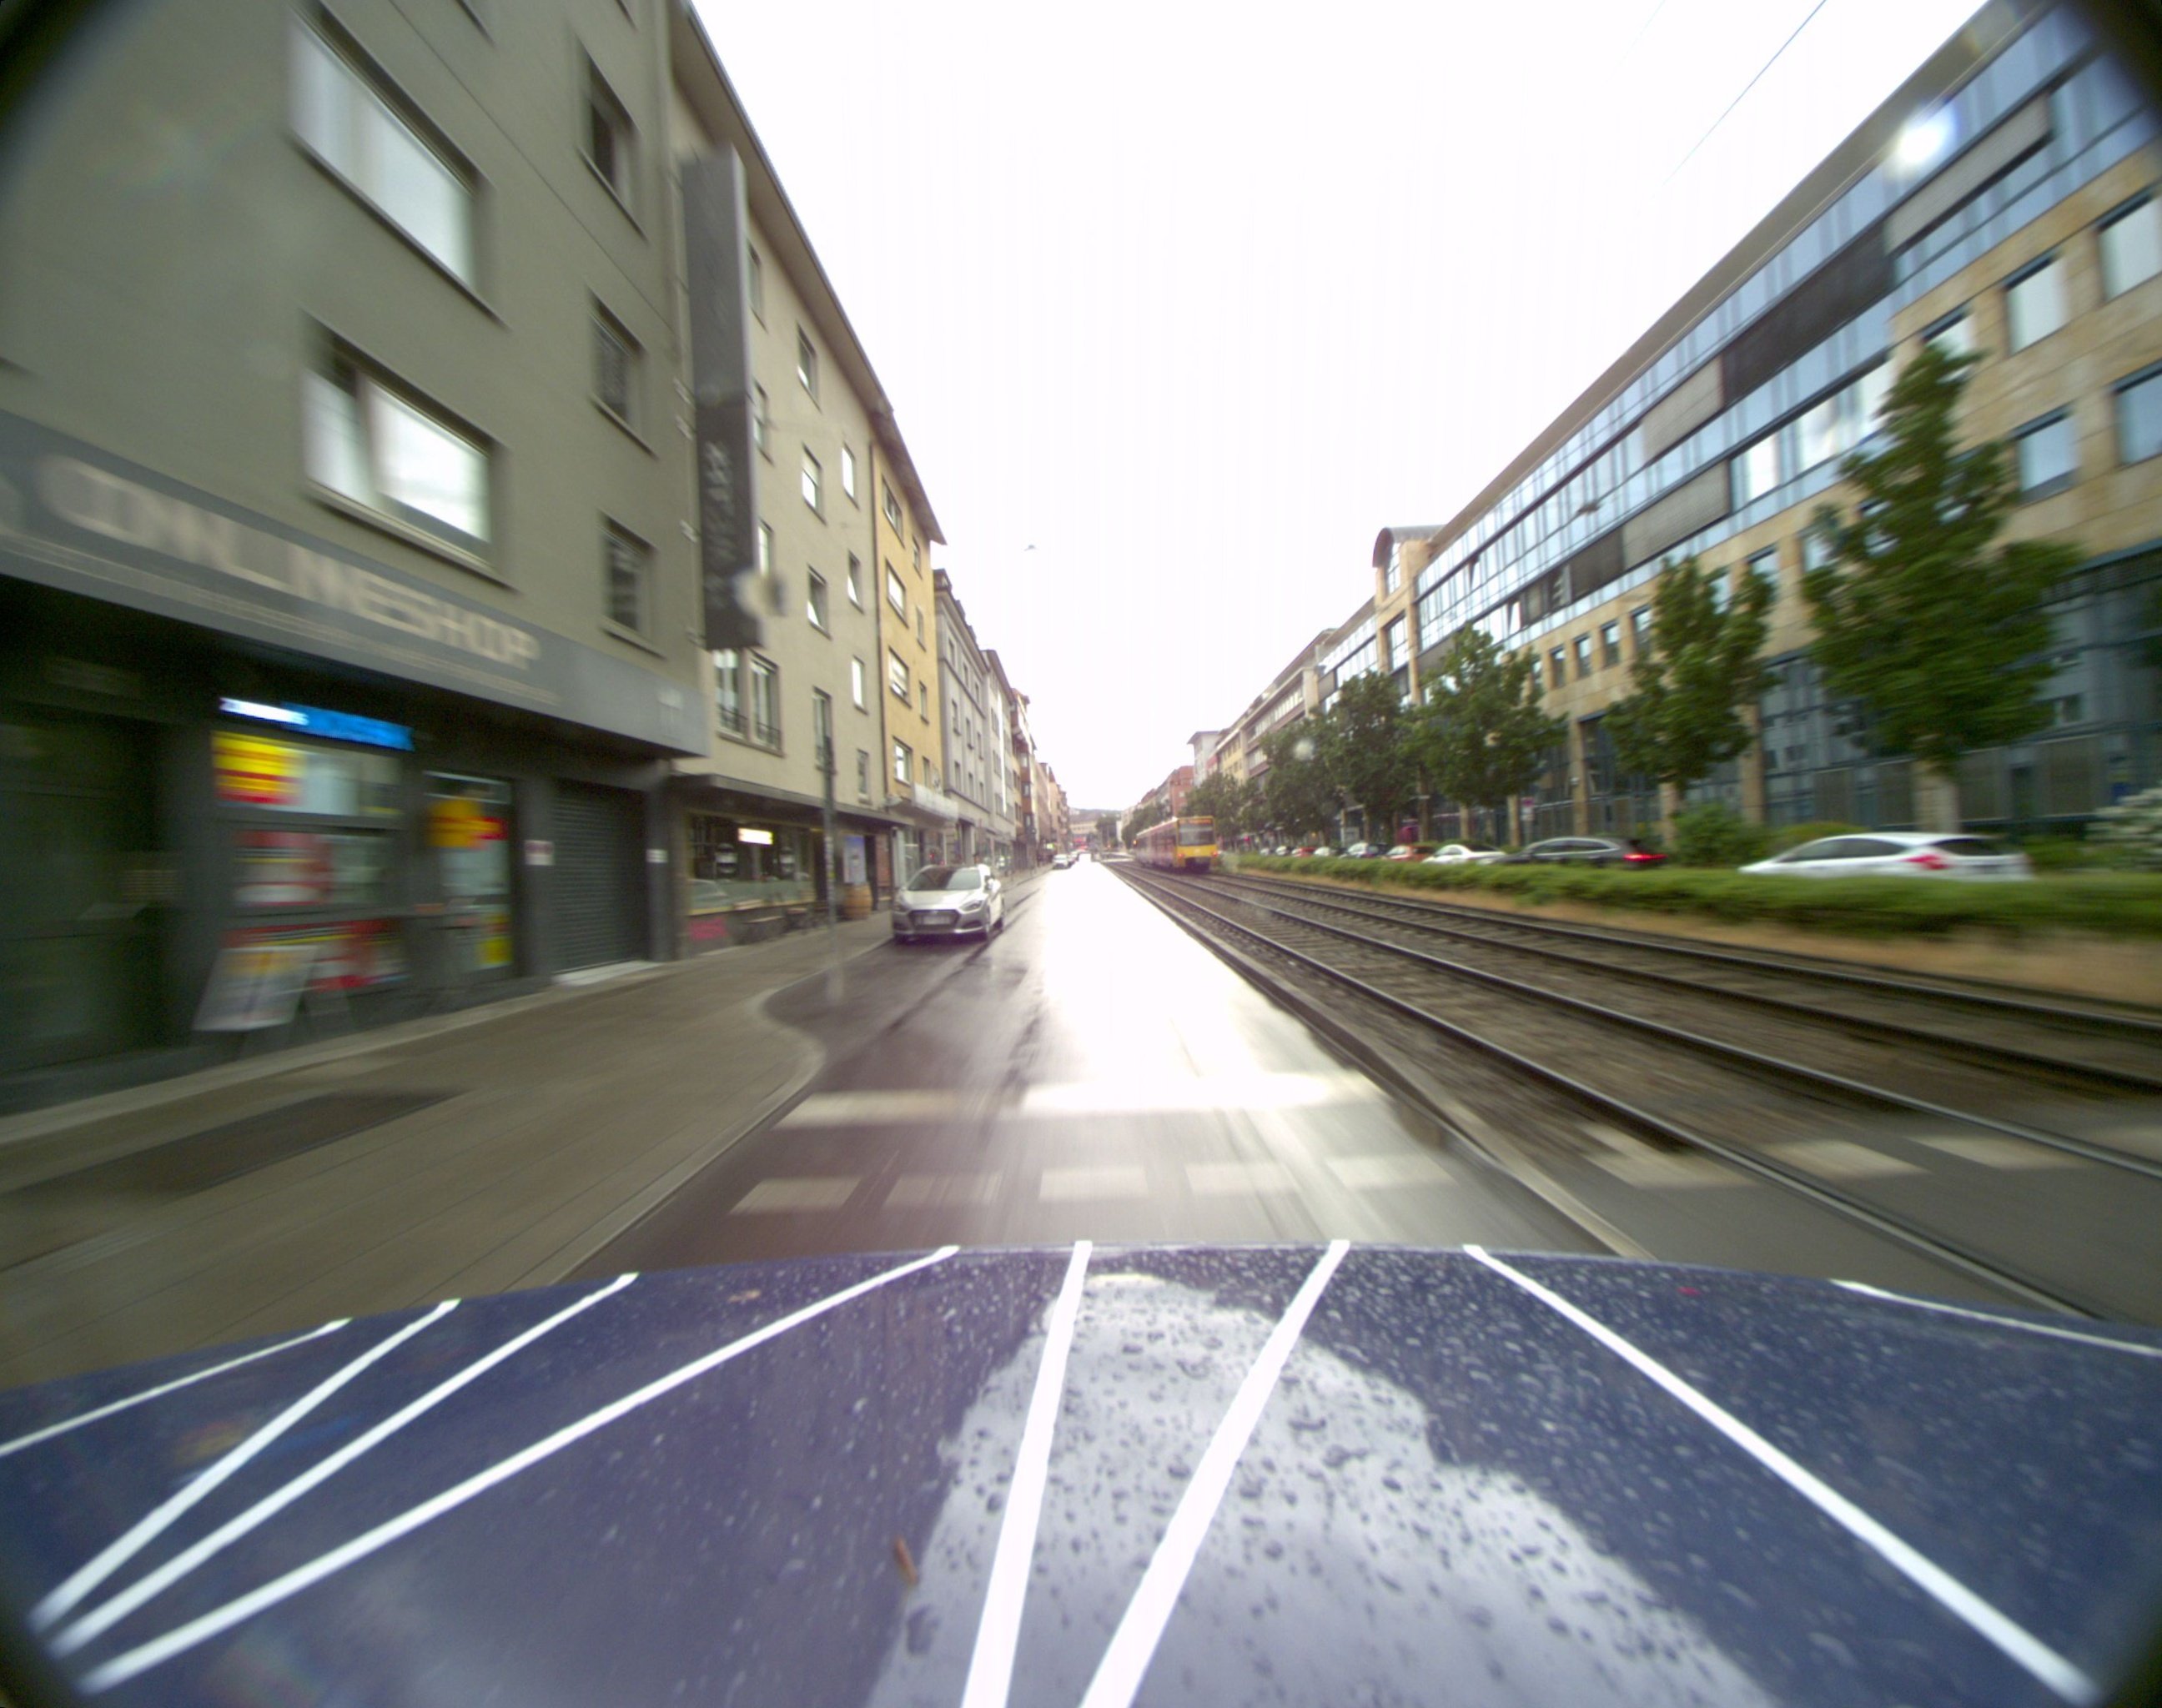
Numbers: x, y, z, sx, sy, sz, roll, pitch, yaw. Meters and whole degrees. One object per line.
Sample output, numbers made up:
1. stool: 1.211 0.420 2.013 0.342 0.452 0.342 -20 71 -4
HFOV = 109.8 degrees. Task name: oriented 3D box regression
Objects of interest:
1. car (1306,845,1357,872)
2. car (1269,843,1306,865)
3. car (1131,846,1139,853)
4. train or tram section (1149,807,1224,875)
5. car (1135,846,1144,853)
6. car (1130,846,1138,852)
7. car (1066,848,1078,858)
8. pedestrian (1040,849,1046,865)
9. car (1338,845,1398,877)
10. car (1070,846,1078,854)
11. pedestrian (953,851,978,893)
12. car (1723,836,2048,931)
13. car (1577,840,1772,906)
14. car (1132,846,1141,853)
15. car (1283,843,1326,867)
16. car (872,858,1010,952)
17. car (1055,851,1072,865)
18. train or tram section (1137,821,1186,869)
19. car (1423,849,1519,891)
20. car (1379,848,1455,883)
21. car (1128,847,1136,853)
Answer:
1. car: 15.530 0.258 47.316 1.653 1.532 4.621 -2 0 1
2. car: 15.691 -0.001 57.937 1.653 1.532 4.621 -2 0 1
3. car: 16.110 -1.373 226.305 1.999 1.779 3.999 -2 0 0
4. train or tram section: 7.301 -0.915 55.891 2.909 4.027 18.765 -2 1 1
5. car: 15.975 -1.264 206.827 1.999 1.652 3.999 -2 0 0
6. car: 16.242 -1.499 232.172 1.999 1.779 3.999 -2 0 0
7. car: -1.388 -0.147 117.663 1.653 1.584 4.067 -2 0 1
8. pedestrian: -4.306 0.340 86.135 0.640 1.690 0.883 -2 1 1
9. car: 15.377 0.337 40.966 1.653 1.592 4.292 -2 0 1
10. car: -1.508 -0.934 171.878 1.653 1.584 4.067 -2 0 1
11. pedestrian: -4.654 0.715 30.716 0.793 1.649 0.721 -4 1 0
12. car: 15.118 0.516 14.709 1.693 1.477 4.255 -3 -1 -1
13. car: 15.549 0.474 20.251 1.693 1.477 4.295 -3 -1 -1
14. car: 15.901 -1.342 217.211 1.999 1.779 4.163 -2 0 0
15. car: 15.585 0.056 53.178 1.653 1.532 4.621 -2 0 1
16. car: -2.752 0.938 16.085 2.029 1.584 4.620 -2 0 0
17. car: -1.884 0.428 83.364 1.653 1.489 4.067 -2 0 1
18. train or tram section: 7.568 -0.879 74.586 2.909 4.027 18.409 -2 1 1
19. car: 15.206 0.579 29.860 1.653 1.489 4.192 -2 0 1
20. car: 15.434 0.484 35.194 1.653 1.489 4.292 -2 0 1
21. car: 16.026 -1.386 237.949 1.999 1.779 3.999 -2 0 0
